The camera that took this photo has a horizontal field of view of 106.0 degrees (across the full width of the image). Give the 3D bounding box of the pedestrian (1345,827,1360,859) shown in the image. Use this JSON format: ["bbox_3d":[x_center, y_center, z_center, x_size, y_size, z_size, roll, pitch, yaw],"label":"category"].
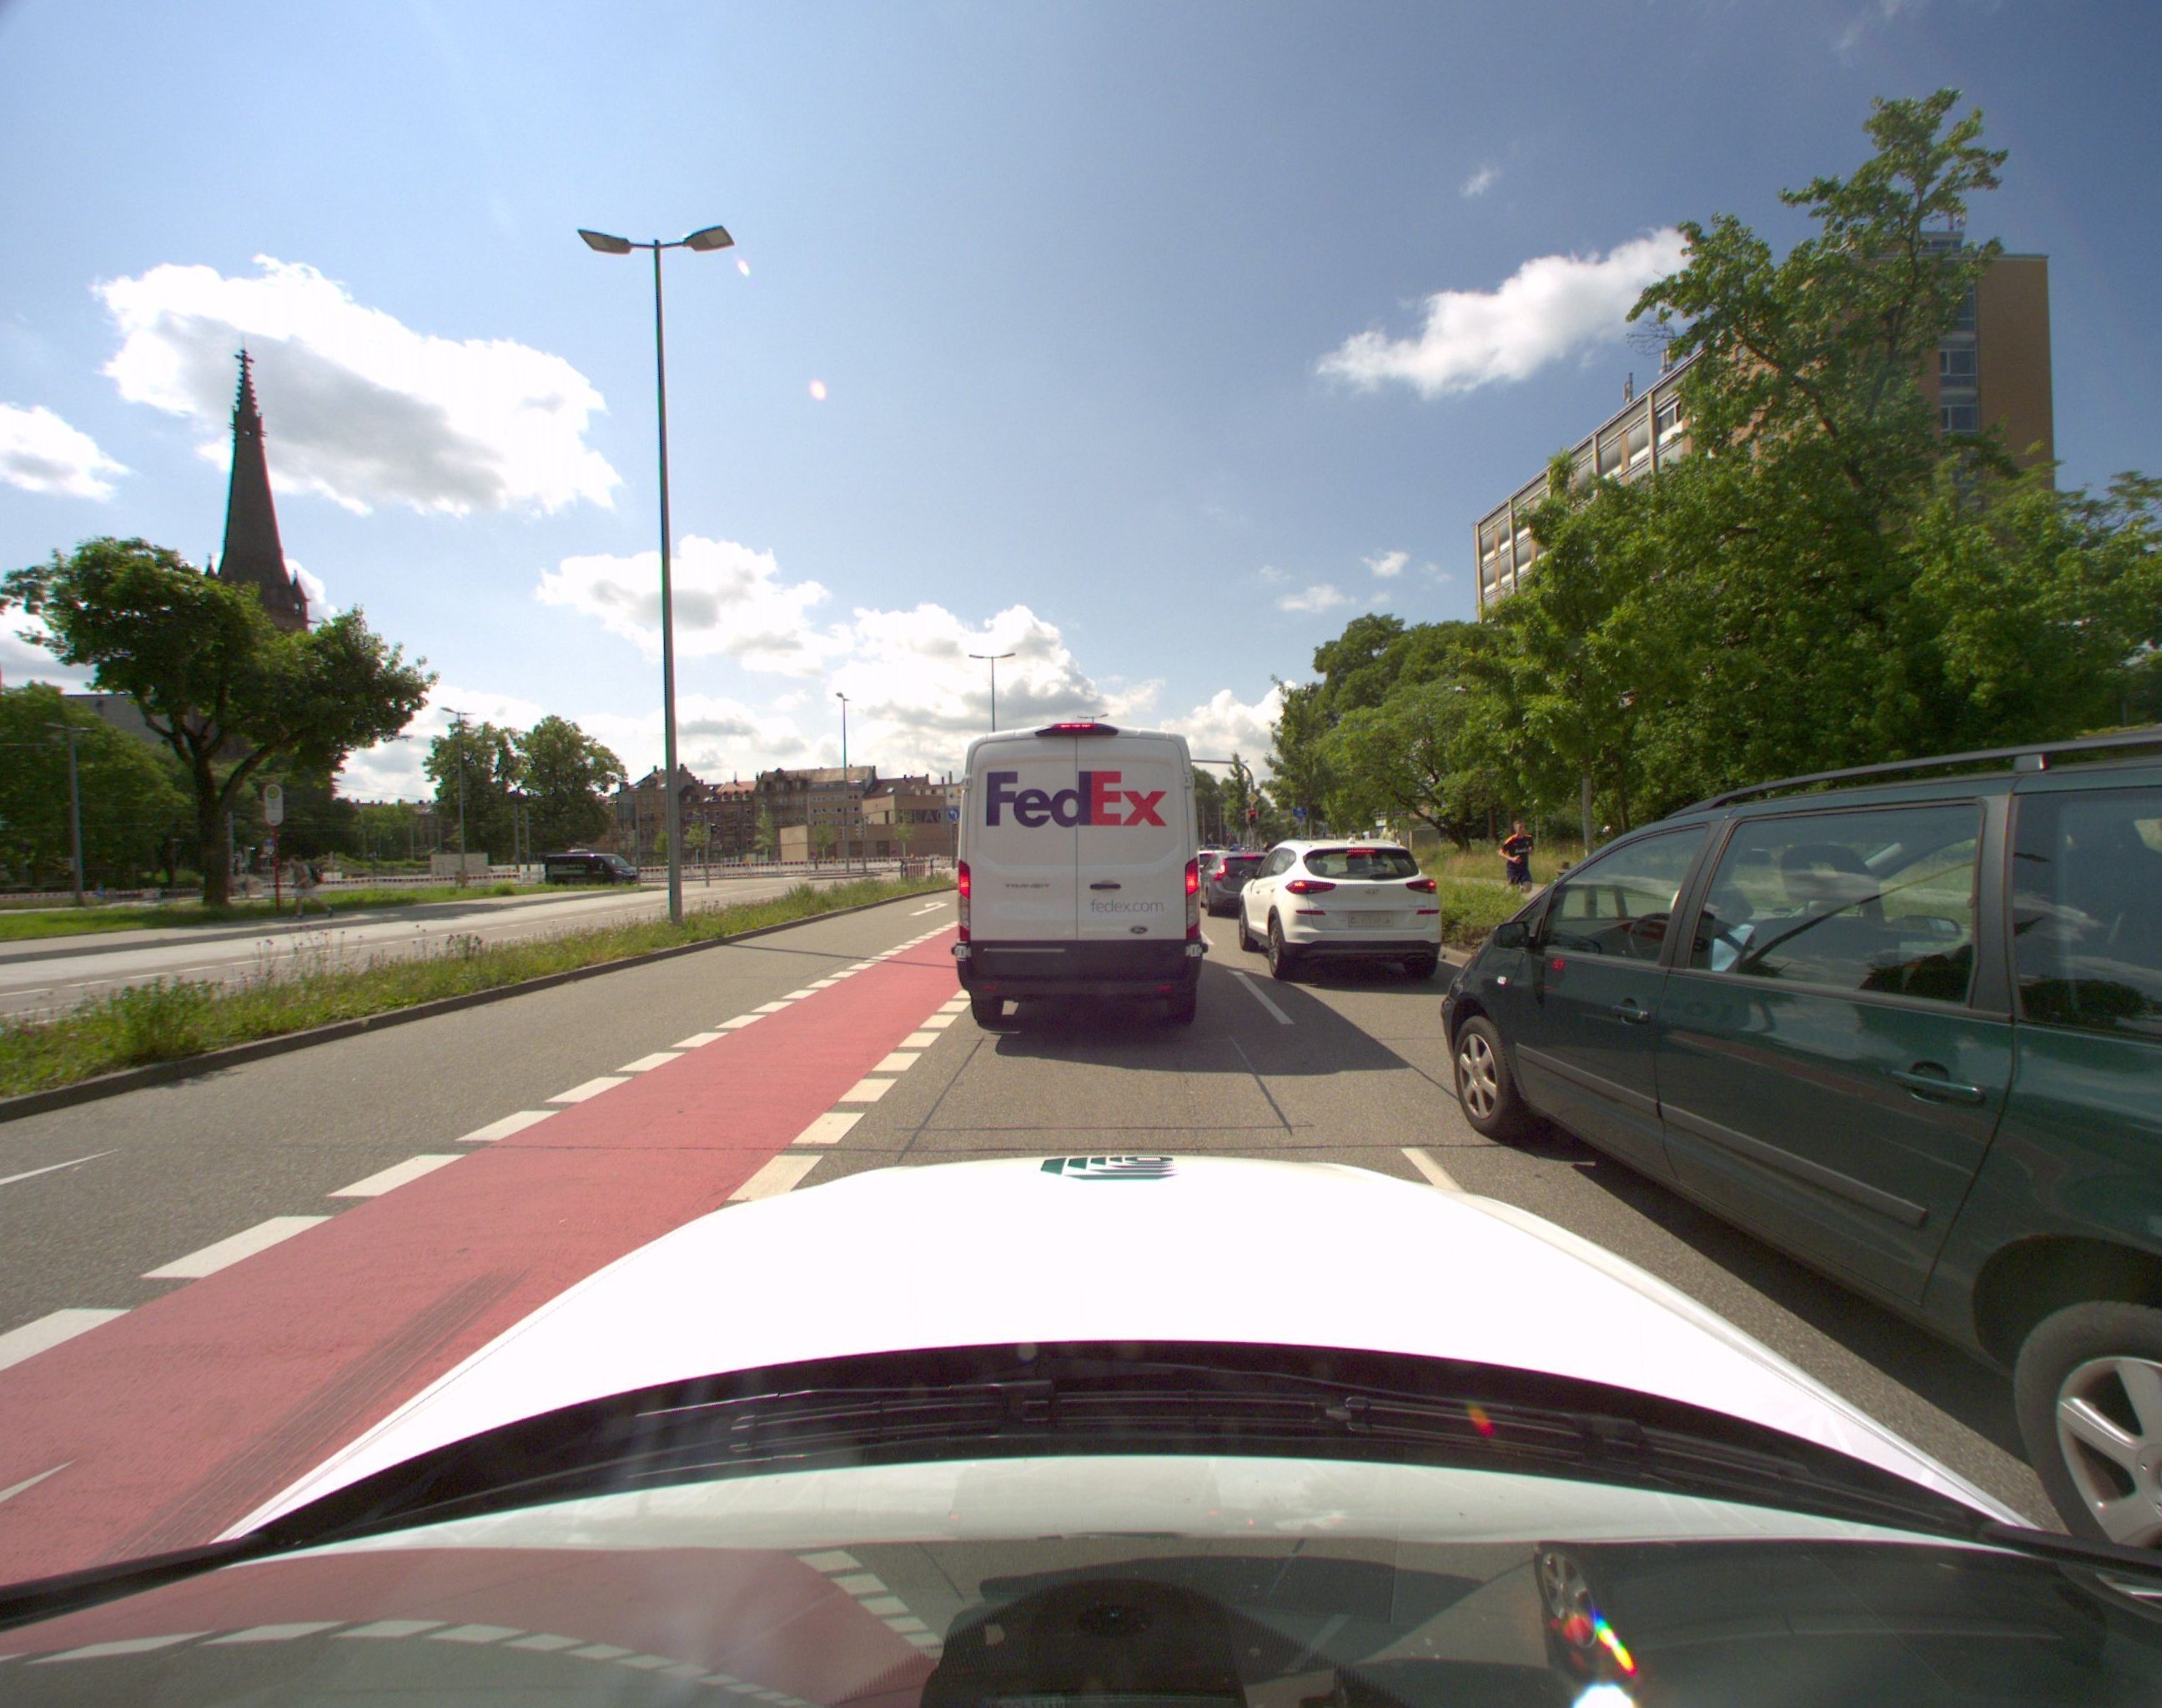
[{"bbox_3d":[17.827,-0.709,53.529,0.731,2.057,0.853,-2,0,30],"label":"pedestrian"}]

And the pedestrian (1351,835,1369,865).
[{"bbox_3d":[18.595,-0.265,54.315,0.846,2.013,0.737,-2,0,-13],"label":"pedestrian"}]

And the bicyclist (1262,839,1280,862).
[{"bbox_3d":[12.543,-0.229,53.815,0.970,1.474,0.548,-2,0,-16],"label":"bicyclist"}]

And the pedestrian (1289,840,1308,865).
[{"bbox_3d":[12.586,-0.078,47.154,0.842,1.389,0.741,-2,0,1],"label":"pedestrian"}]

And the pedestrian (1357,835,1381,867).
[{"bbox_3d":[14.163,-0.144,40.045,0.842,1.539,0.835,-2,0,1],"label":"pedestrian"}]

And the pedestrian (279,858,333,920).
[{"bbox_3d":[-20.587,0.917,21.652,0.548,1.560,0.881,-2,0,30],"label":"pedestrian"}]

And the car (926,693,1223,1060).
[{"bbox_3d":[-0.053,0.154,8.835,2.134,2.652,5.703,-1,0,0],"label":"car"}]

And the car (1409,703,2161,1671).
[{"bbox_3d":[2.872,0.572,2.827,1.805,1.734,4.390,-1,0,2],"label":"car"}]

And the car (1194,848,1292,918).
[{"bbox_3d":[3.754,0.616,19.484,1.790,1.461,3.842,-2,0,4],"label":"car"}]

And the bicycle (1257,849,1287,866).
[{"bbox_3d":[12.608,0.216,53.840,1.925,1.030,0.545,-2,0,-17],"label":"bicycle"}]

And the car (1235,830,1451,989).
[{"bbox_3d":[3.207,0.584,10.806,1.790,1.687,4.004,-2,0,4],"label":"car"}]

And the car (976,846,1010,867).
[{"bbox_3d":[-8.853,0.269,82.198,1.978,2.013,4.017,-2,0,16],"label":"car"}]

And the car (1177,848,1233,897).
[{"bbox_3d":[3.941,0.561,26.303,1.478,1.428,3.436,-2,0,4],"label":"car"}]

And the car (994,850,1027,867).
[{"bbox_3d":[-6.922,0.400,80.347,1.886,1.585,4.017,-2,0,16],"label":"car"}]

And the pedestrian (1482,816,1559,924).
[{"bbox_3d":[8.027,0.280,14.907,0.947,1.892,0.774,-2,0,1],"label":"pedestrian"}]

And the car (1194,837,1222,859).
[{"bbox_3d":[12.391,-0.550,79.300,2.077,2.013,4.663,-2,0,15],"label":"car"}]

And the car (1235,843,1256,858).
[{"bbox_3d":[20.637,-0.484,101.968,1.977,1.794,4.392,-2,0,19],"label":"car"}]

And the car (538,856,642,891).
[{"bbox_3d":[-29.457,1.154,48.959,4.995,1.878,1.928,-2,1,-2],"label":"car"}]
